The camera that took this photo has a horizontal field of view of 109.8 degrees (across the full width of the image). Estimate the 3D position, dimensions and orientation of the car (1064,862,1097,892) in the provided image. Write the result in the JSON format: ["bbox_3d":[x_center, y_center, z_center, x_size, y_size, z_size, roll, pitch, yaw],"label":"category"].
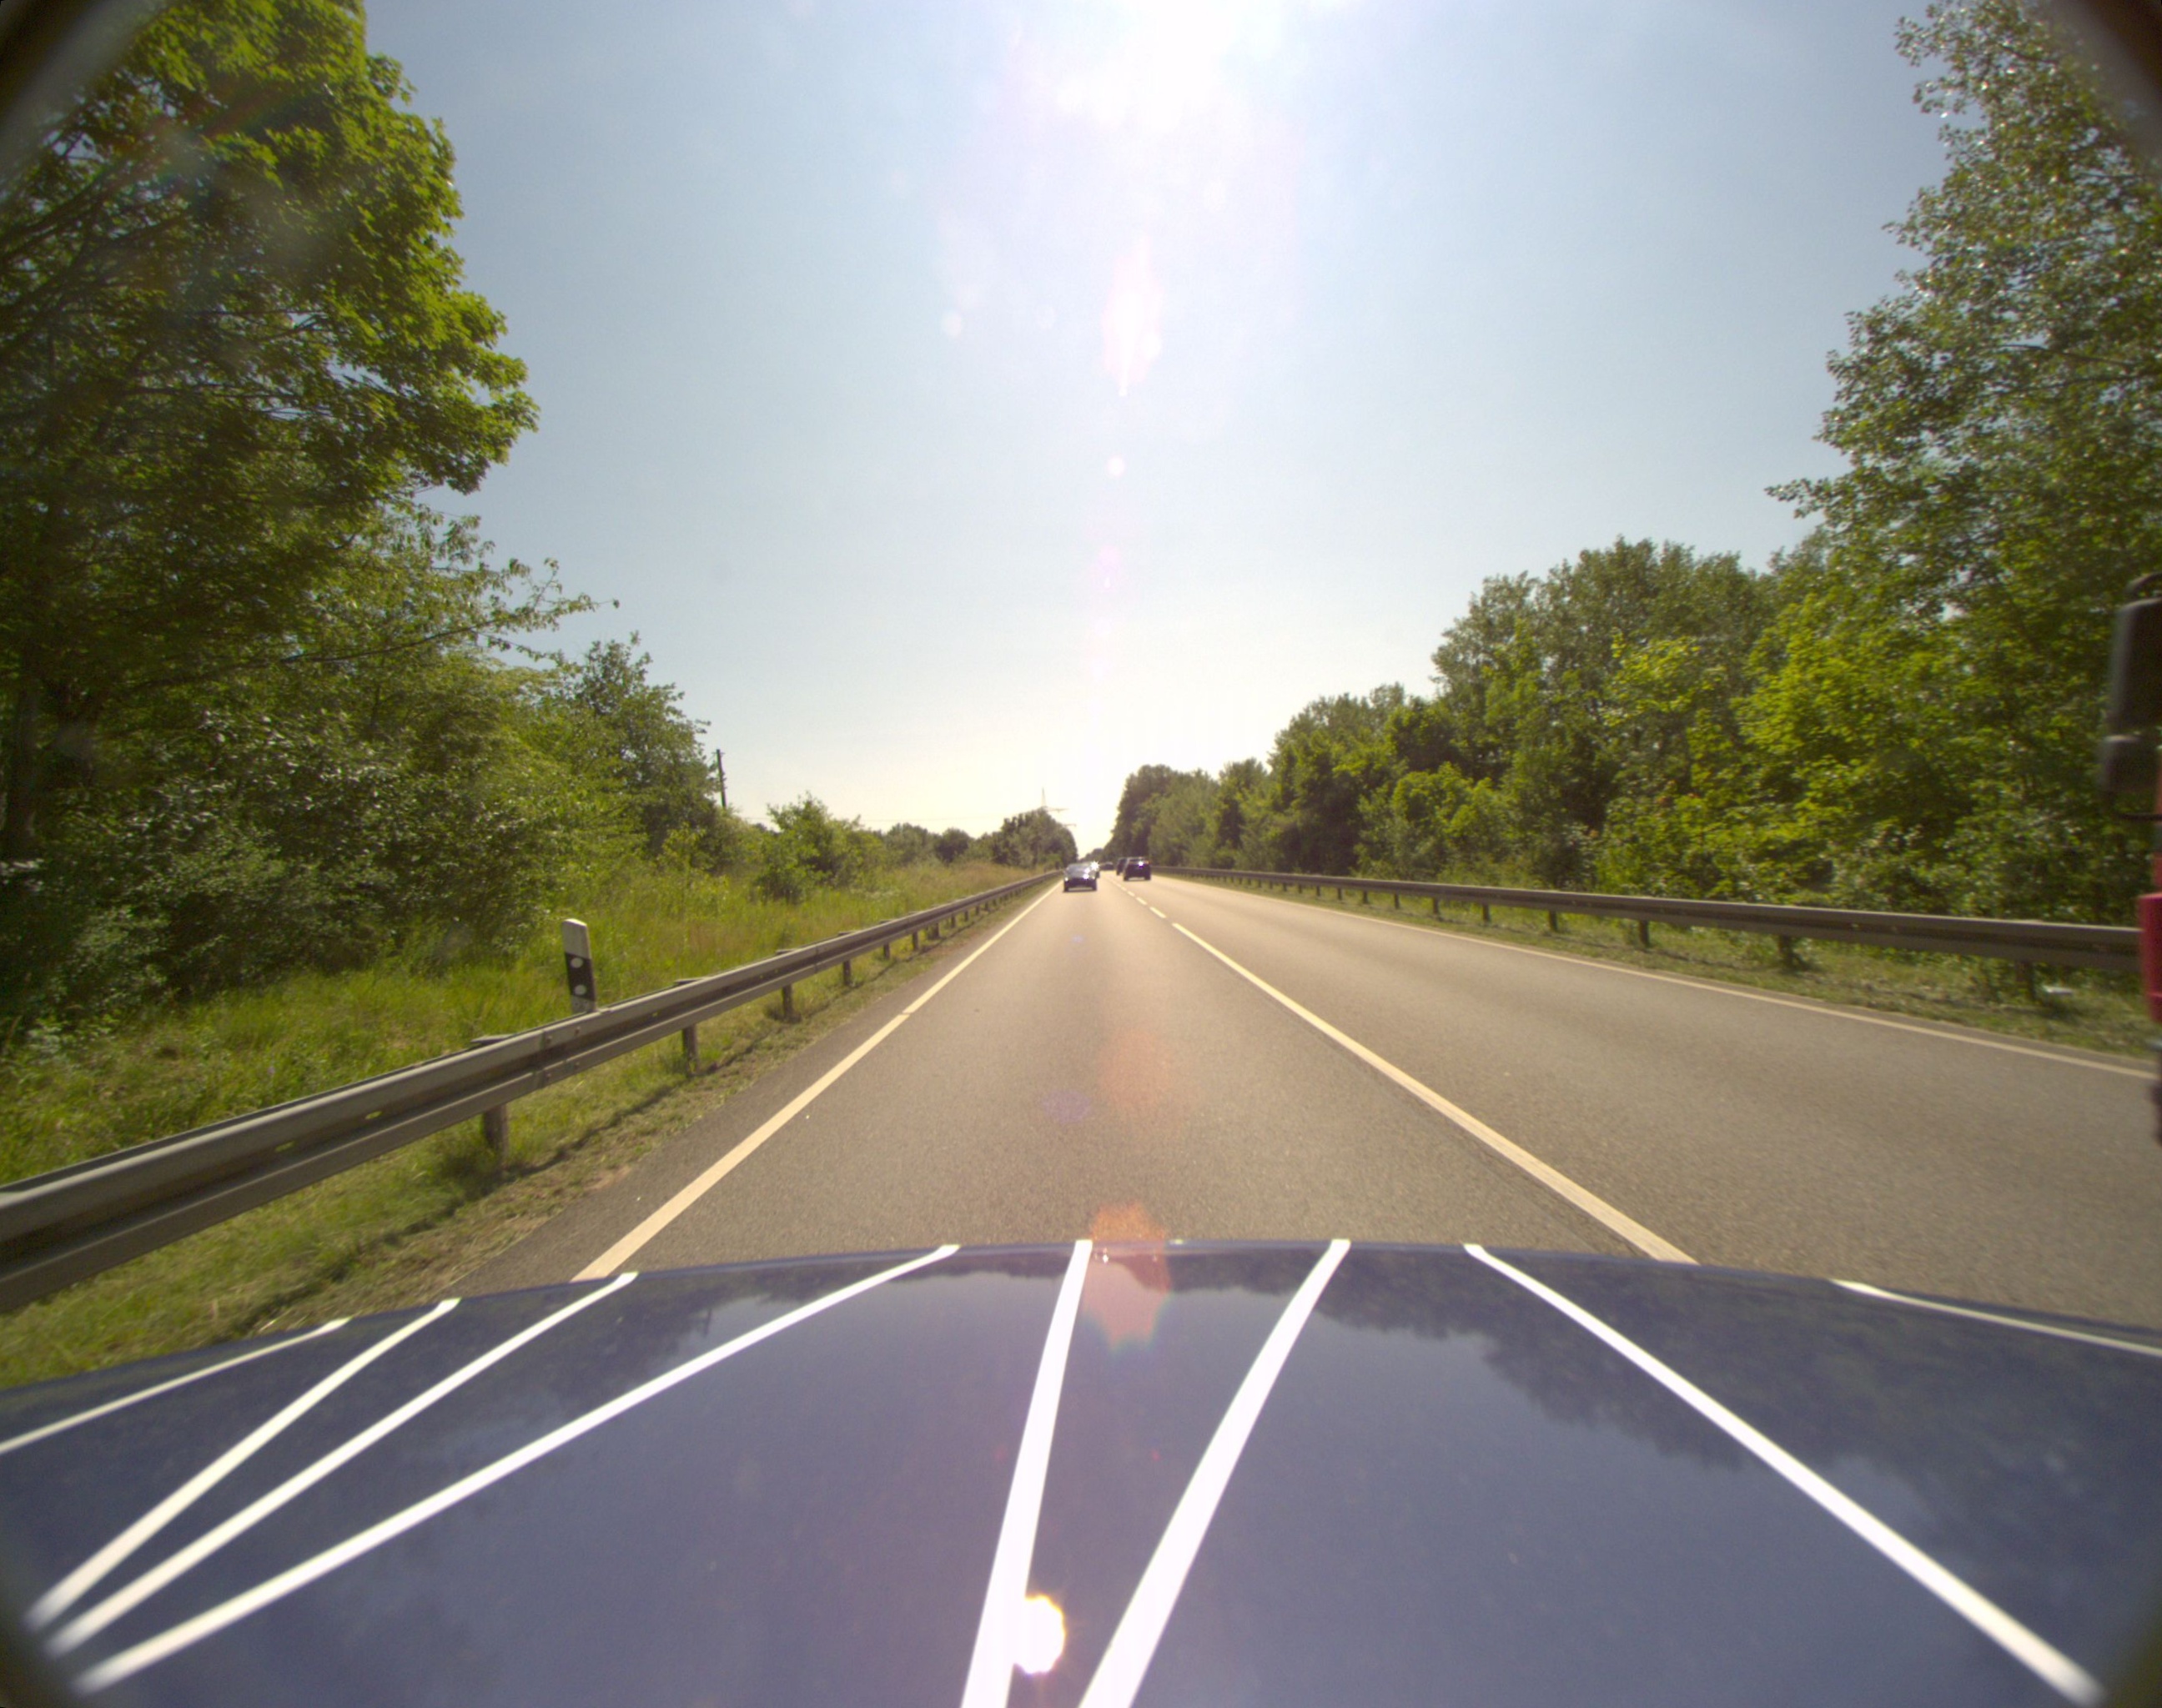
[{"bbox_3d":[-0.005,1.133,38.915,1.529,1.387,3.443,-2,0,1],"label":"car"}]

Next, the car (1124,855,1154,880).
[{"bbox_3d":[4.120,0.927,54.380,1.762,1.694,4.000,-2,0,0],"label":"car"}]

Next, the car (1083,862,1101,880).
[{"bbox_3d":[0.948,1.491,66.997,1.443,1.443,3.298,-2,0,-1],"label":"car"}]

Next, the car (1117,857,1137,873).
[{"bbox_3d":[4.757,1.110,78.235,1.762,1.532,3.806,-2,0,0],"label":"car"}]

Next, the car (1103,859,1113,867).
[{"bbox_3d":[5.373,1.743,149.341,1.762,1.532,3.806,-2,0,0],"label":"car"}]

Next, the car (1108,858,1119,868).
[{"bbox_3d":[5.589,1.552,130.905,1.762,1.532,3.806,-2,0,0],"label":"car"}]
